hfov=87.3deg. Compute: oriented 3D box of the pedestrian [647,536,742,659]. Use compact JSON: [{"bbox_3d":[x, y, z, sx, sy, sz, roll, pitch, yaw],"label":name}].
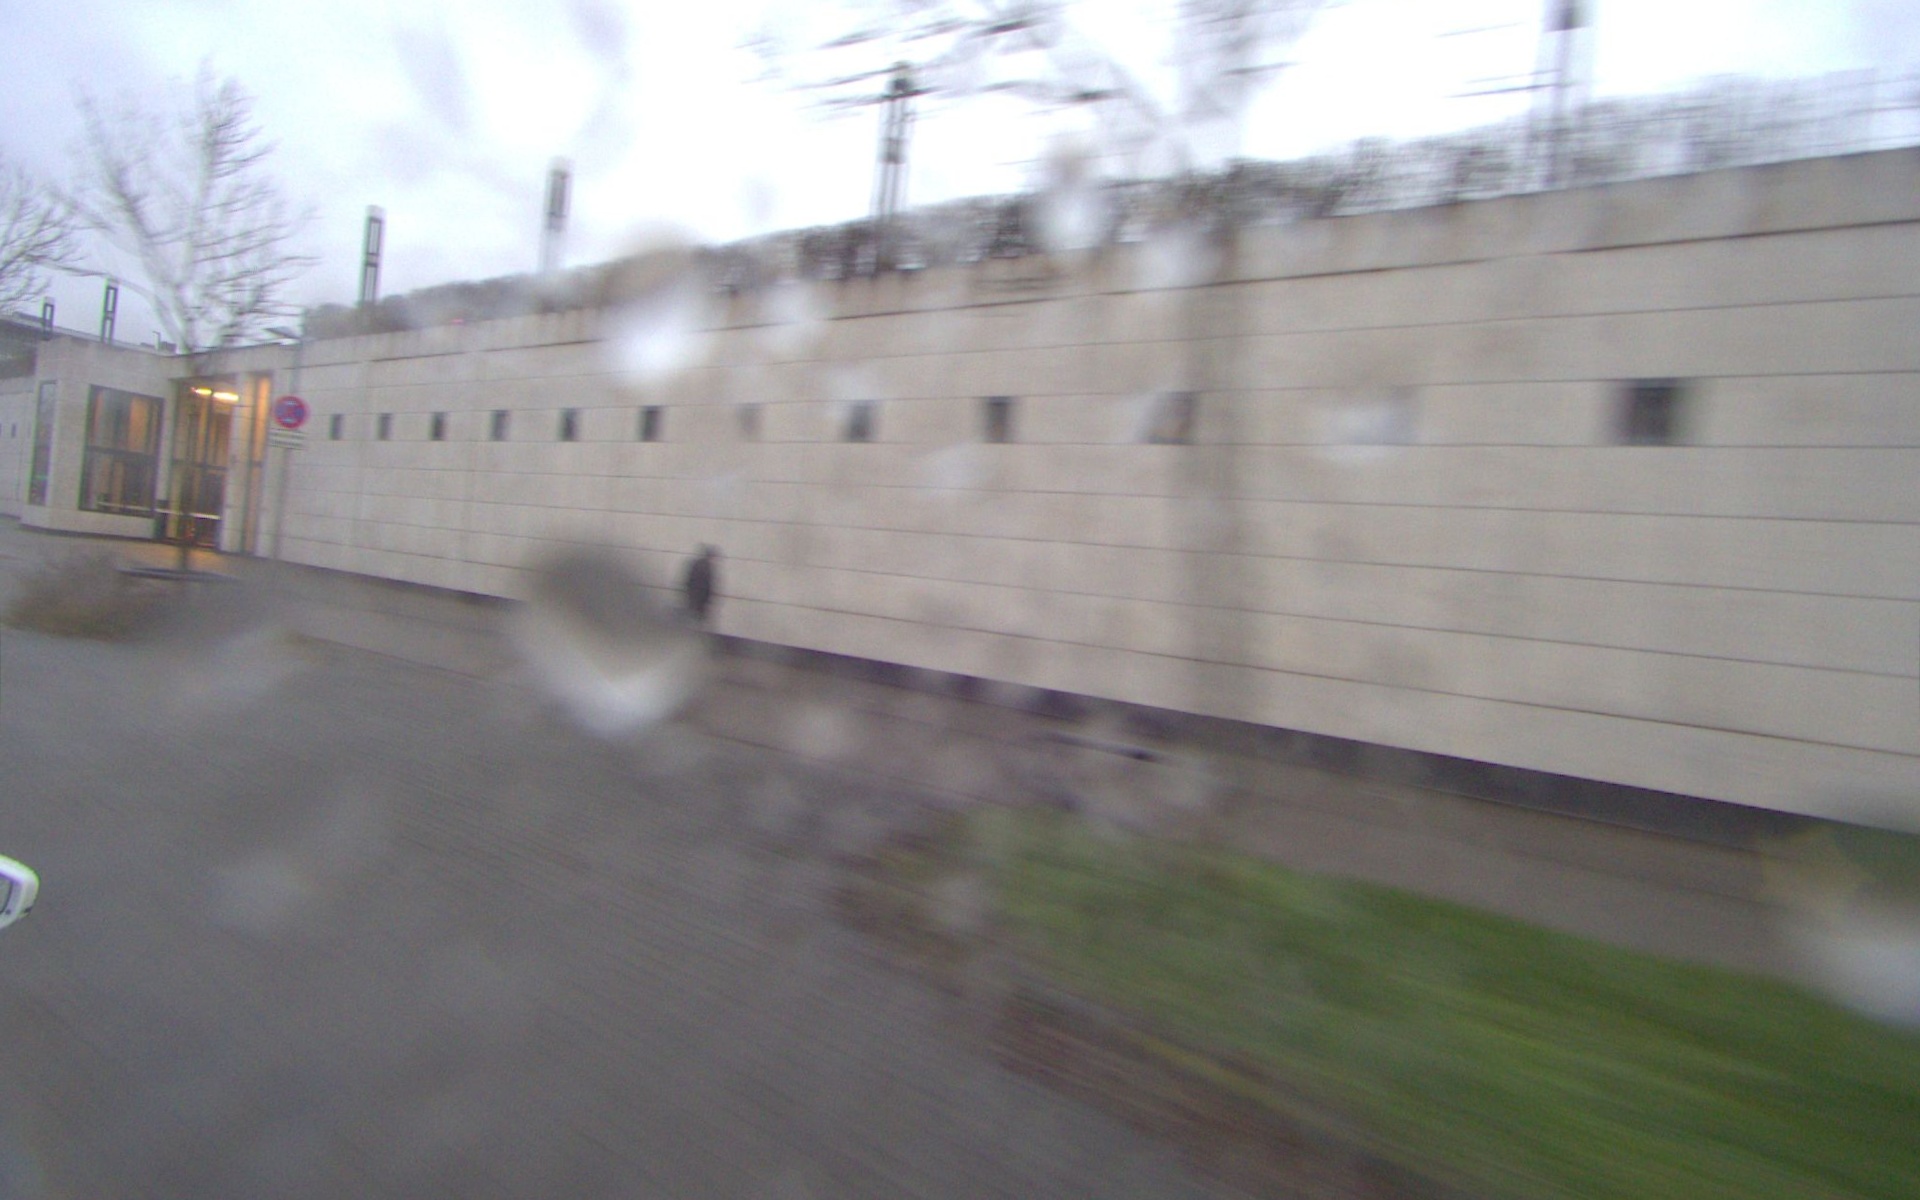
[{"bbox_3d":[-3.776,-0.017,14.343,0.683,1.638,0.938,7,1,32],"label":"pedestrian"}]
